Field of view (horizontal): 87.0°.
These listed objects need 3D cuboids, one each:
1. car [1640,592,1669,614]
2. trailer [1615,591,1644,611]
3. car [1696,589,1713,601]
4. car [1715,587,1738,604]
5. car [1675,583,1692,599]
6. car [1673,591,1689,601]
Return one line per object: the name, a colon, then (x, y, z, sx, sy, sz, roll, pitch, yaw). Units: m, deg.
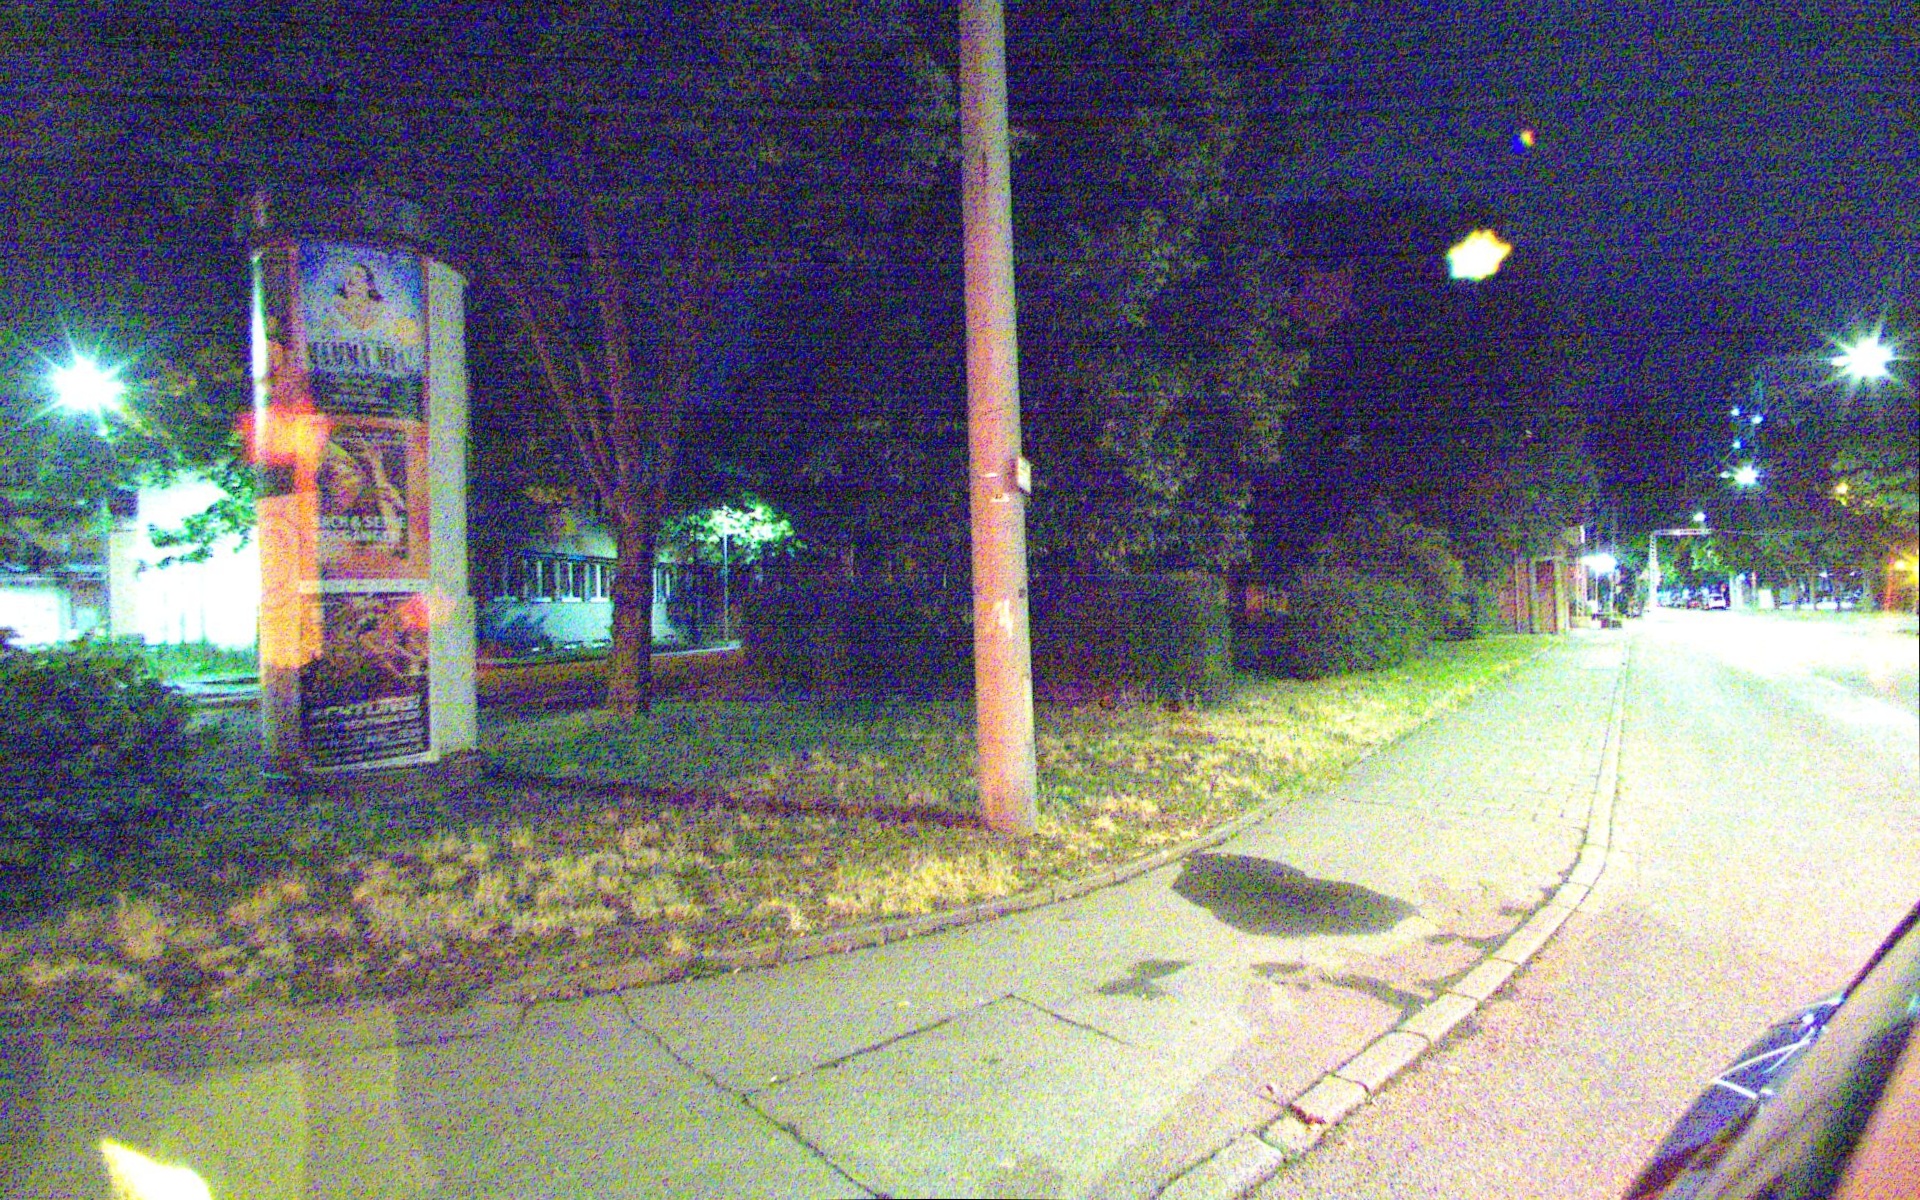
car: (50.344, 0.228, 73.323, 1.582, 1.480, 3.747, -3, -1, 36)
trailer: (53.964, 0.041, 81.533, 1.596, 1.514, 3.683, -3, -2, 37)
car: (103.500, -0.697, 140.679, 1.815, 1.668, 3.684, -1, 0, 35)
car: (88.764, -0.560, 117.215, 1.871, 1.832, 3.684, -5, -3, 35)
car: (127.384, -1.562, 178.191, 1.990, 2.540, 4.898, -5, -3, 32)
car: (120.412, -0.681, 168.931, 1.813, 1.450, 3.689, -5, -3, 32)
